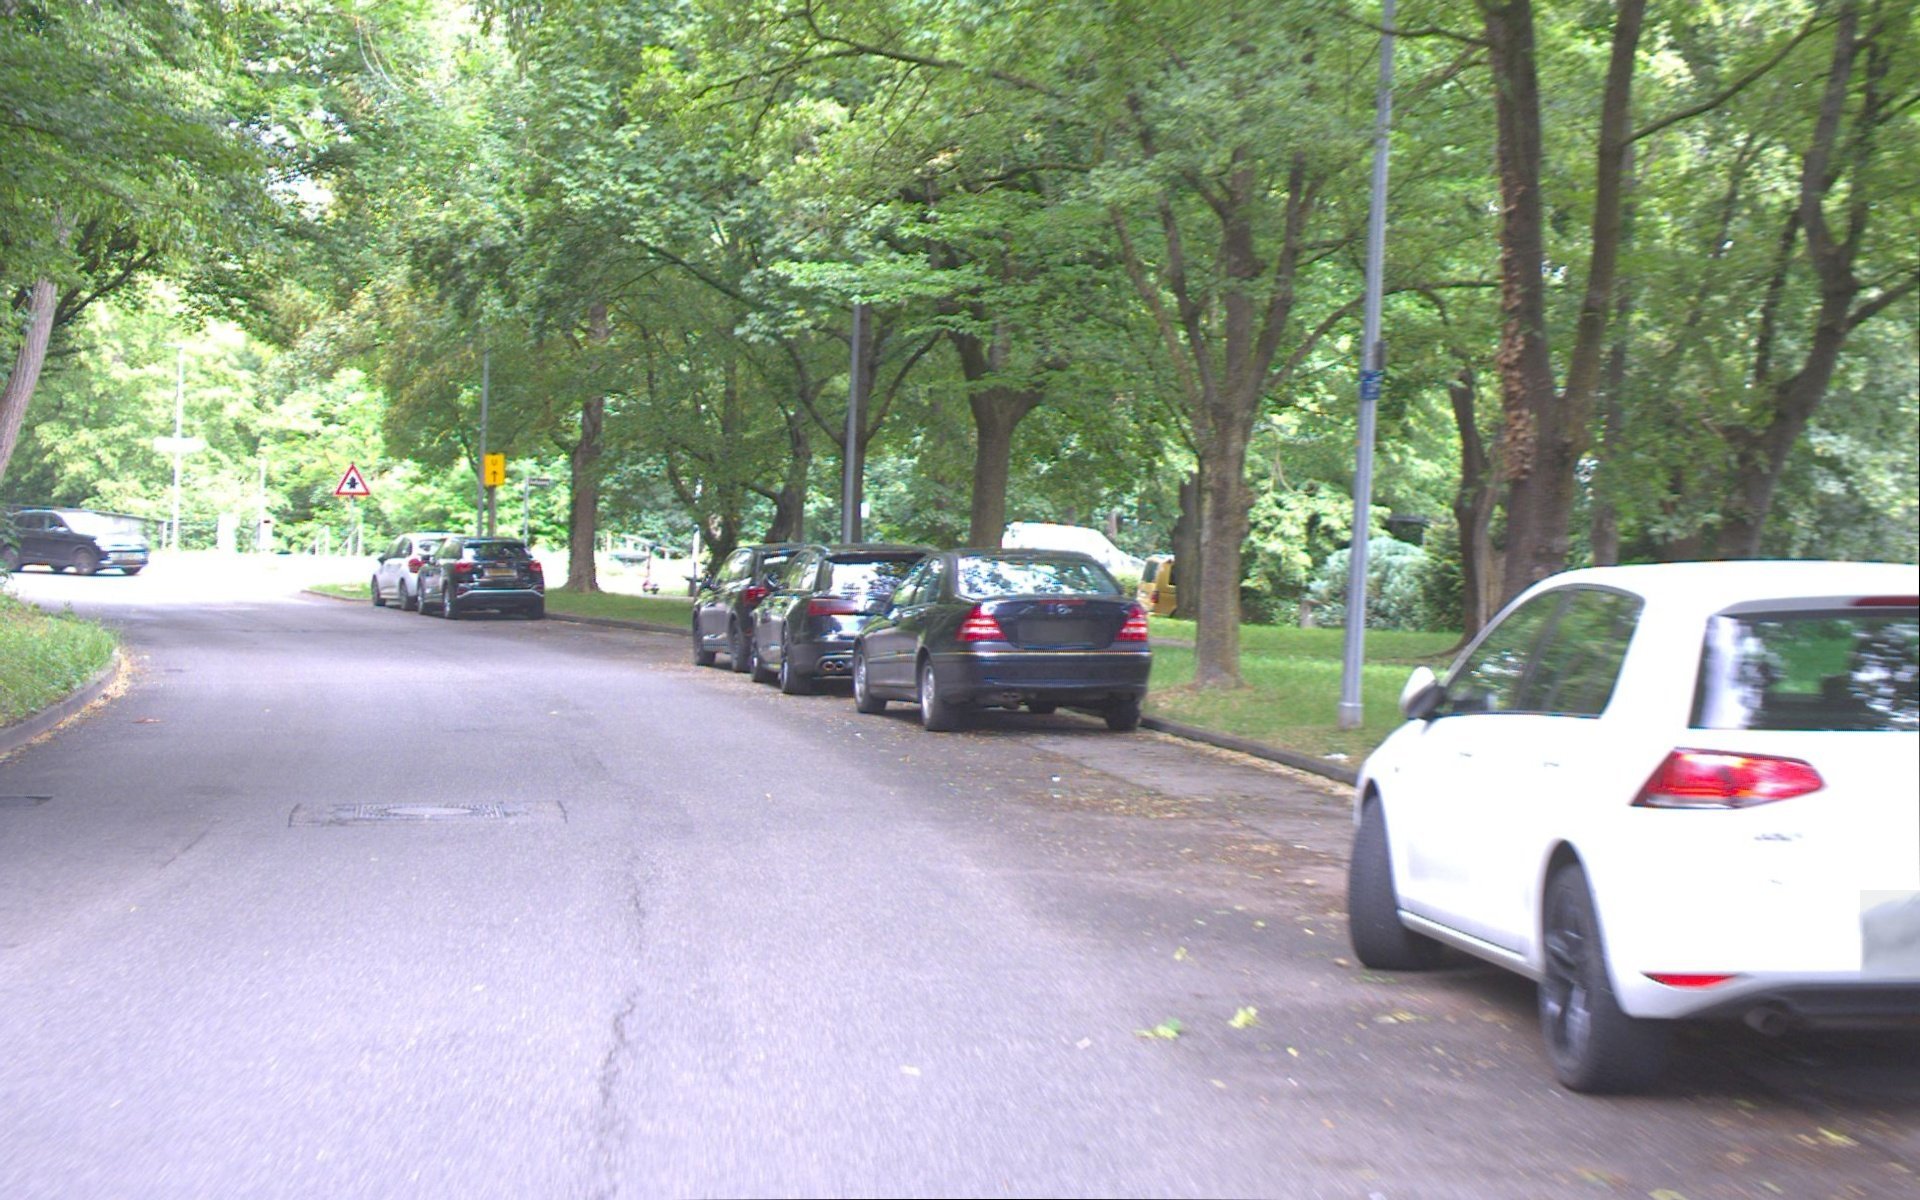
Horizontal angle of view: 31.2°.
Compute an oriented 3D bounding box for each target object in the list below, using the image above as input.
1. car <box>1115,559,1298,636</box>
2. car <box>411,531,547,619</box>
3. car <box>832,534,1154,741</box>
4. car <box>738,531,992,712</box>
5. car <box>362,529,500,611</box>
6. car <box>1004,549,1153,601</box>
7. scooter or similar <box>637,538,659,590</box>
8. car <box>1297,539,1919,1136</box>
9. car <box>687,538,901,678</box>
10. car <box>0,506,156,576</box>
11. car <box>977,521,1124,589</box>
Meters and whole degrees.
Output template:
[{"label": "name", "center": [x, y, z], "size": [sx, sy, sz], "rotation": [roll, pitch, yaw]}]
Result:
[{"label": "car", "center": [6.476, -0.077, 90.488], "size": [4.395, 1.842, 1.833], "rotation": [2, 1, -11]}, {"label": "car", "center": [-8.999, -0.491, 64.056], "size": [1.773, 1.517, 4.185], "rotation": [1, 1, -18]}, {"label": "car", "center": [0.173, 0.246, 27.690], "size": [1.588, 1.460, 4.318], "rotation": [1, 1, -13]}, {"label": "car", "center": [-1.019, 0.155, 33.922], "size": [1.913, 1.606, 4.736], "rotation": [1, 1, -9]}, {"label": "car", "center": [-10.514, -0.610, 68.206], "size": [1.773, 1.517, 3.782], "rotation": [1, 1, -23]}, {"label": "car", "center": [3.636, -0.775, 105.639], "size": [4.204, 1.493, 1.801], "rotation": [1, 1, -15]}, {"label": "scooter or similar", "center": [-7.835, -0.917, 86.382], "size": [0.282, 1.282, 1.108], "rotation": [2, 1, -18]}, {"label": "car", "center": [2.329, 0.581, 10.787], "size": [1.688, 1.477, 4.107], "rotation": [1, 1, -6]}, {"label": "car", "center": [-1.954, 0.062, 39.291], "size": [1.681, 1.459, 3.899], "rotation": [1, 1, -14]}, {"label": "car", "center": [-23.010, -1.532, 88.882], "size": [4.229, 1.680, 1.796], "rotation": [2, 1, 31]}, {"label": "car", "center": [2.842, -1.421, 108.528], "size": [4.204, 2.007, 2.001], "rotation": [1, 1, -15]}]
